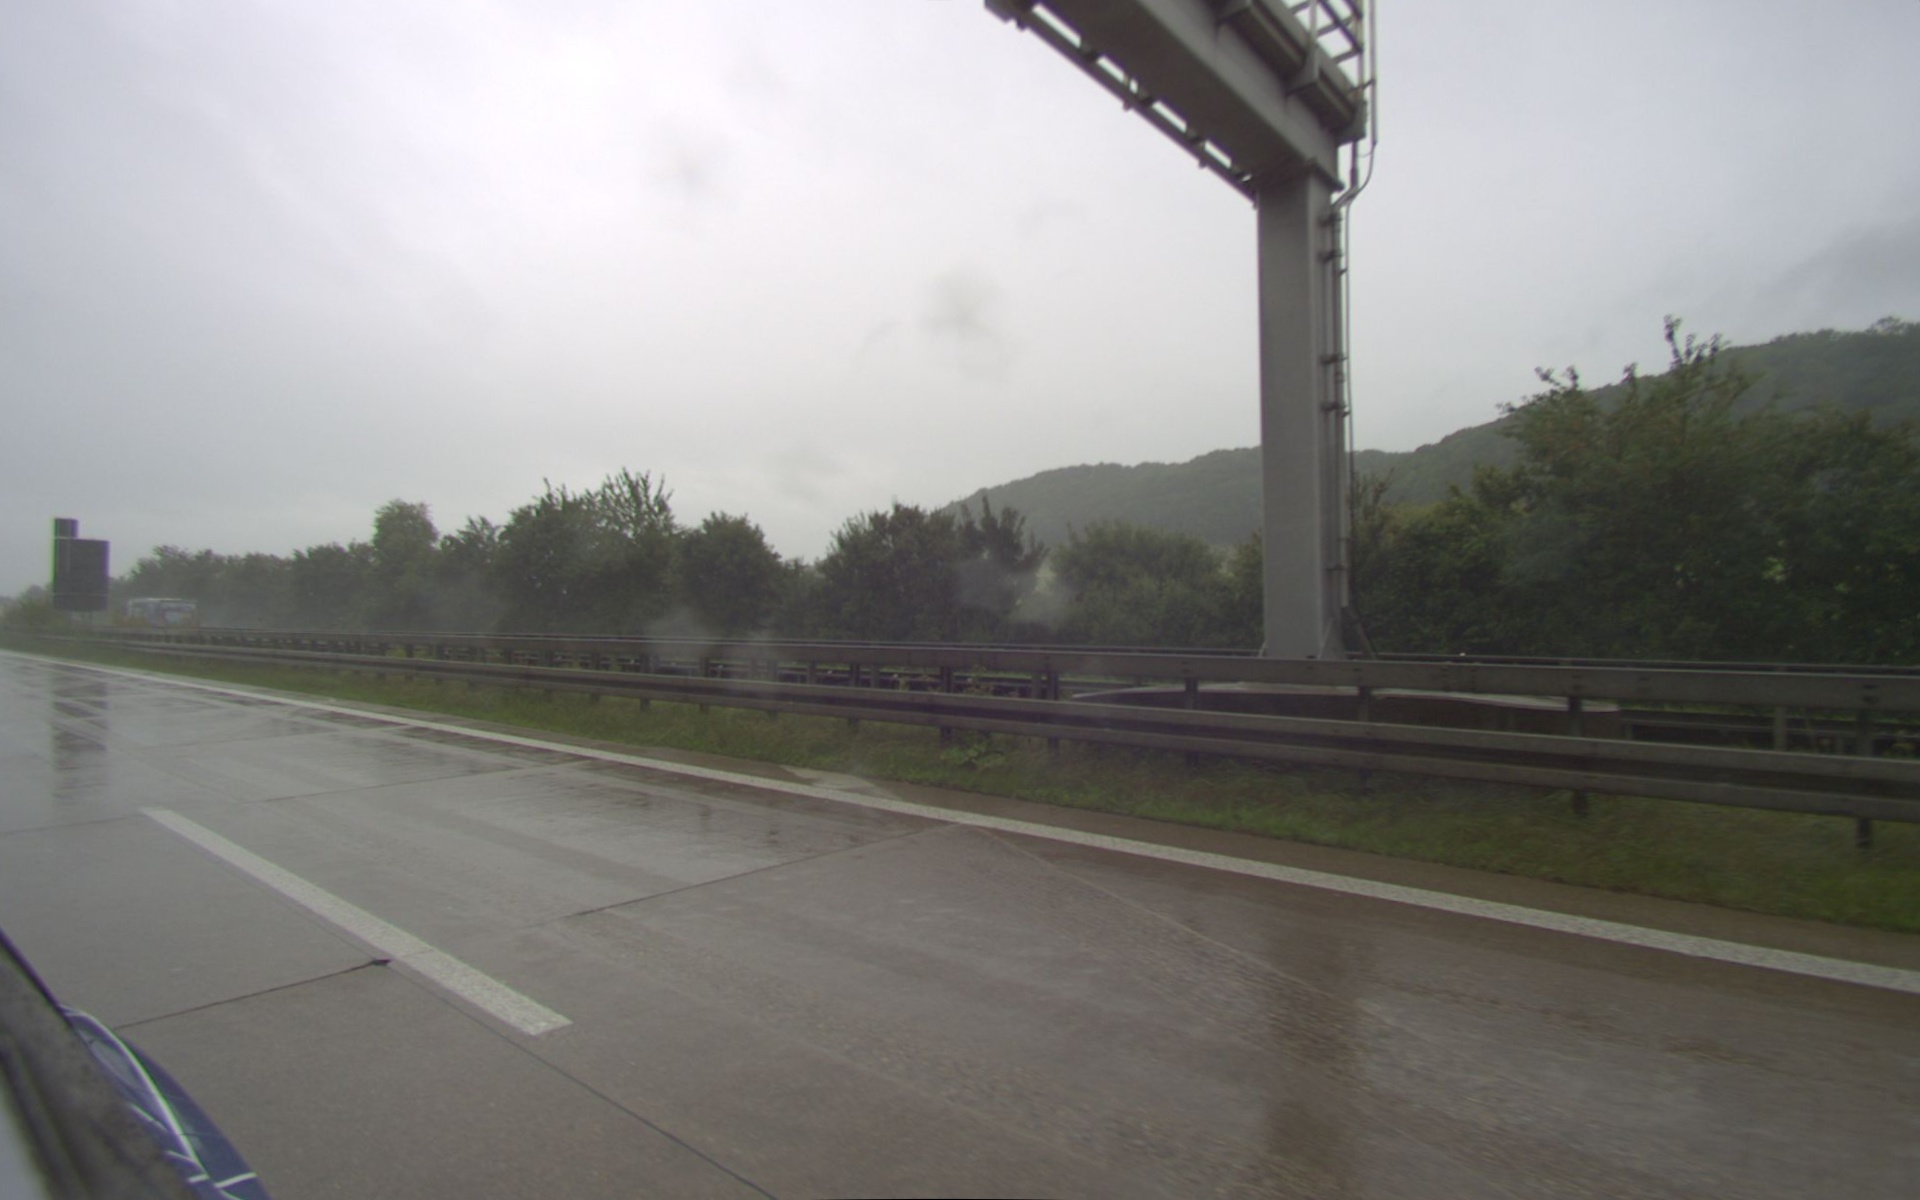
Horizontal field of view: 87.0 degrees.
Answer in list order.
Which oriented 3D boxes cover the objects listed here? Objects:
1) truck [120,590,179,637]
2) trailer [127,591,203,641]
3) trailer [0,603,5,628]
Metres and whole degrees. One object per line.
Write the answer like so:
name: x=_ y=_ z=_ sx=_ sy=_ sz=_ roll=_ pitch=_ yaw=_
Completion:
truck: x=-75.474 y=1.310 z=94.198 sx=5.517 sy=4.216 sz=3.338 roll=-1 pitch=-2 yaw=41
trailer: x=-71.123 y=1.467 z=90.377 sx=11.397 sy=4.205 sz=3.320 roll=-1 pitch=-1 yaw=41
trailer: x=-142.435 y=2.224 z=147.618 sx=13.694 sy=3.569 sz=2.824 roll=-1 pitch=0 yaw=39
